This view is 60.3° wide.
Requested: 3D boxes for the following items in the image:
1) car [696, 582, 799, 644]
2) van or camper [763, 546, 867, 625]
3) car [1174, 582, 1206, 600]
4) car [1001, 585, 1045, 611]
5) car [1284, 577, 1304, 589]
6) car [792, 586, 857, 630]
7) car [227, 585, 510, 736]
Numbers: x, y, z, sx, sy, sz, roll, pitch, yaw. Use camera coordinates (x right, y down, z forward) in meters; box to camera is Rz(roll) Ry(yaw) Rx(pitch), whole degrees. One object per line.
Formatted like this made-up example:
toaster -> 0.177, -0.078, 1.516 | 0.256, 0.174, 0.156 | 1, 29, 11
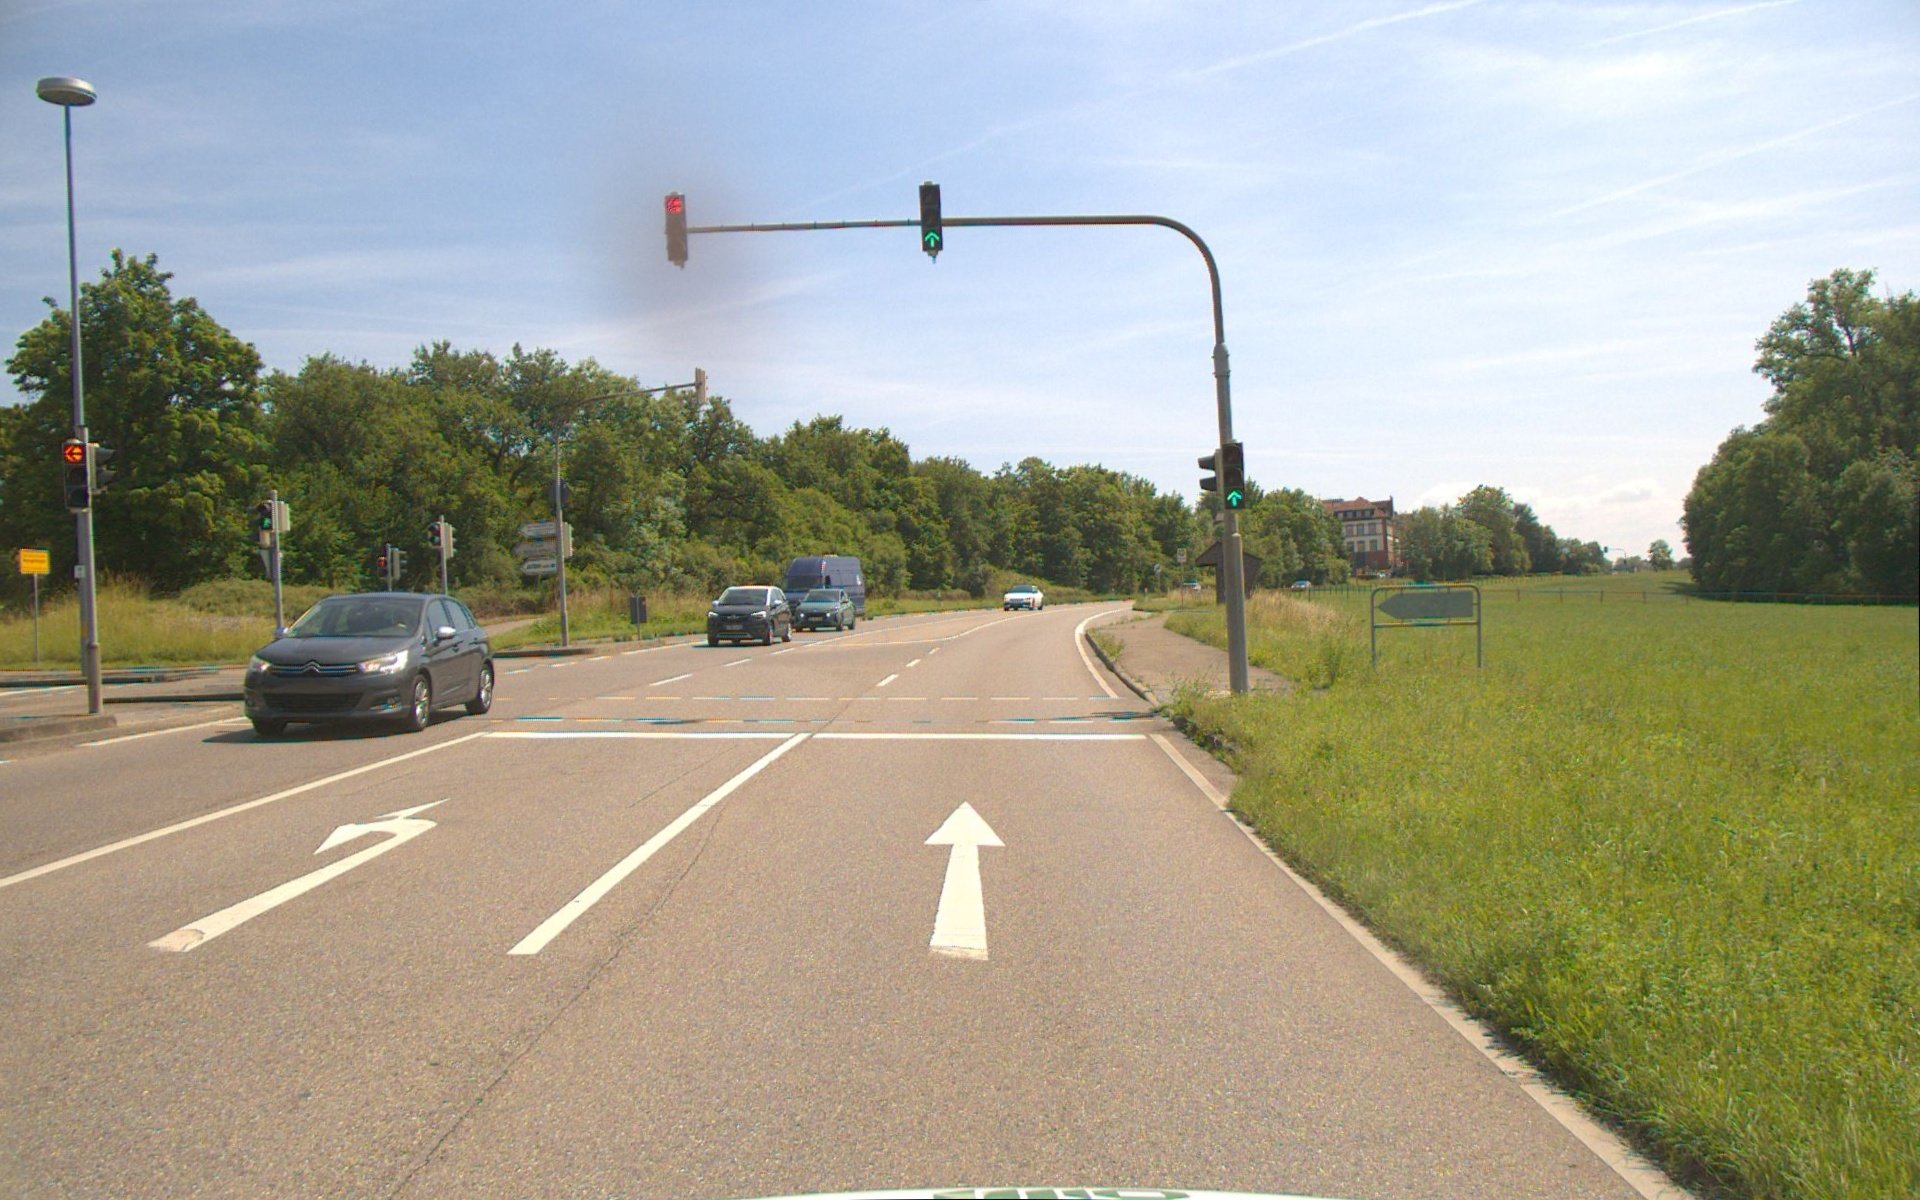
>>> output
car -> -5.726, 0.323, 45.070 | 1.932, 1.589, 4.192 | -1, 0, 5
van or camper -> -5.767, -0.660, 67.059 | 2.192, 2.964, 7.254 | -1, 2, 11
car -> 20.586, -0.789, 147.943 | 1.952, 1.601, 4.001 | -1, 0, 20
car -> 3.966, -0.141, 103.592 | 1.896, 1.575, 4.631 | -1, 0, 14
car -> 42.121, -2.145, 208.400 | 1.719, 1.561, 4.228 | -1, 0, 22
car -> -4.808, 0.265, 59.024 | 1.671, 1.509, 3.835 | -1, 0, 5
car -> -6.563, 0.598, 18.879 | 1.755, 1.500, 4.309 | -1, 0, -2
